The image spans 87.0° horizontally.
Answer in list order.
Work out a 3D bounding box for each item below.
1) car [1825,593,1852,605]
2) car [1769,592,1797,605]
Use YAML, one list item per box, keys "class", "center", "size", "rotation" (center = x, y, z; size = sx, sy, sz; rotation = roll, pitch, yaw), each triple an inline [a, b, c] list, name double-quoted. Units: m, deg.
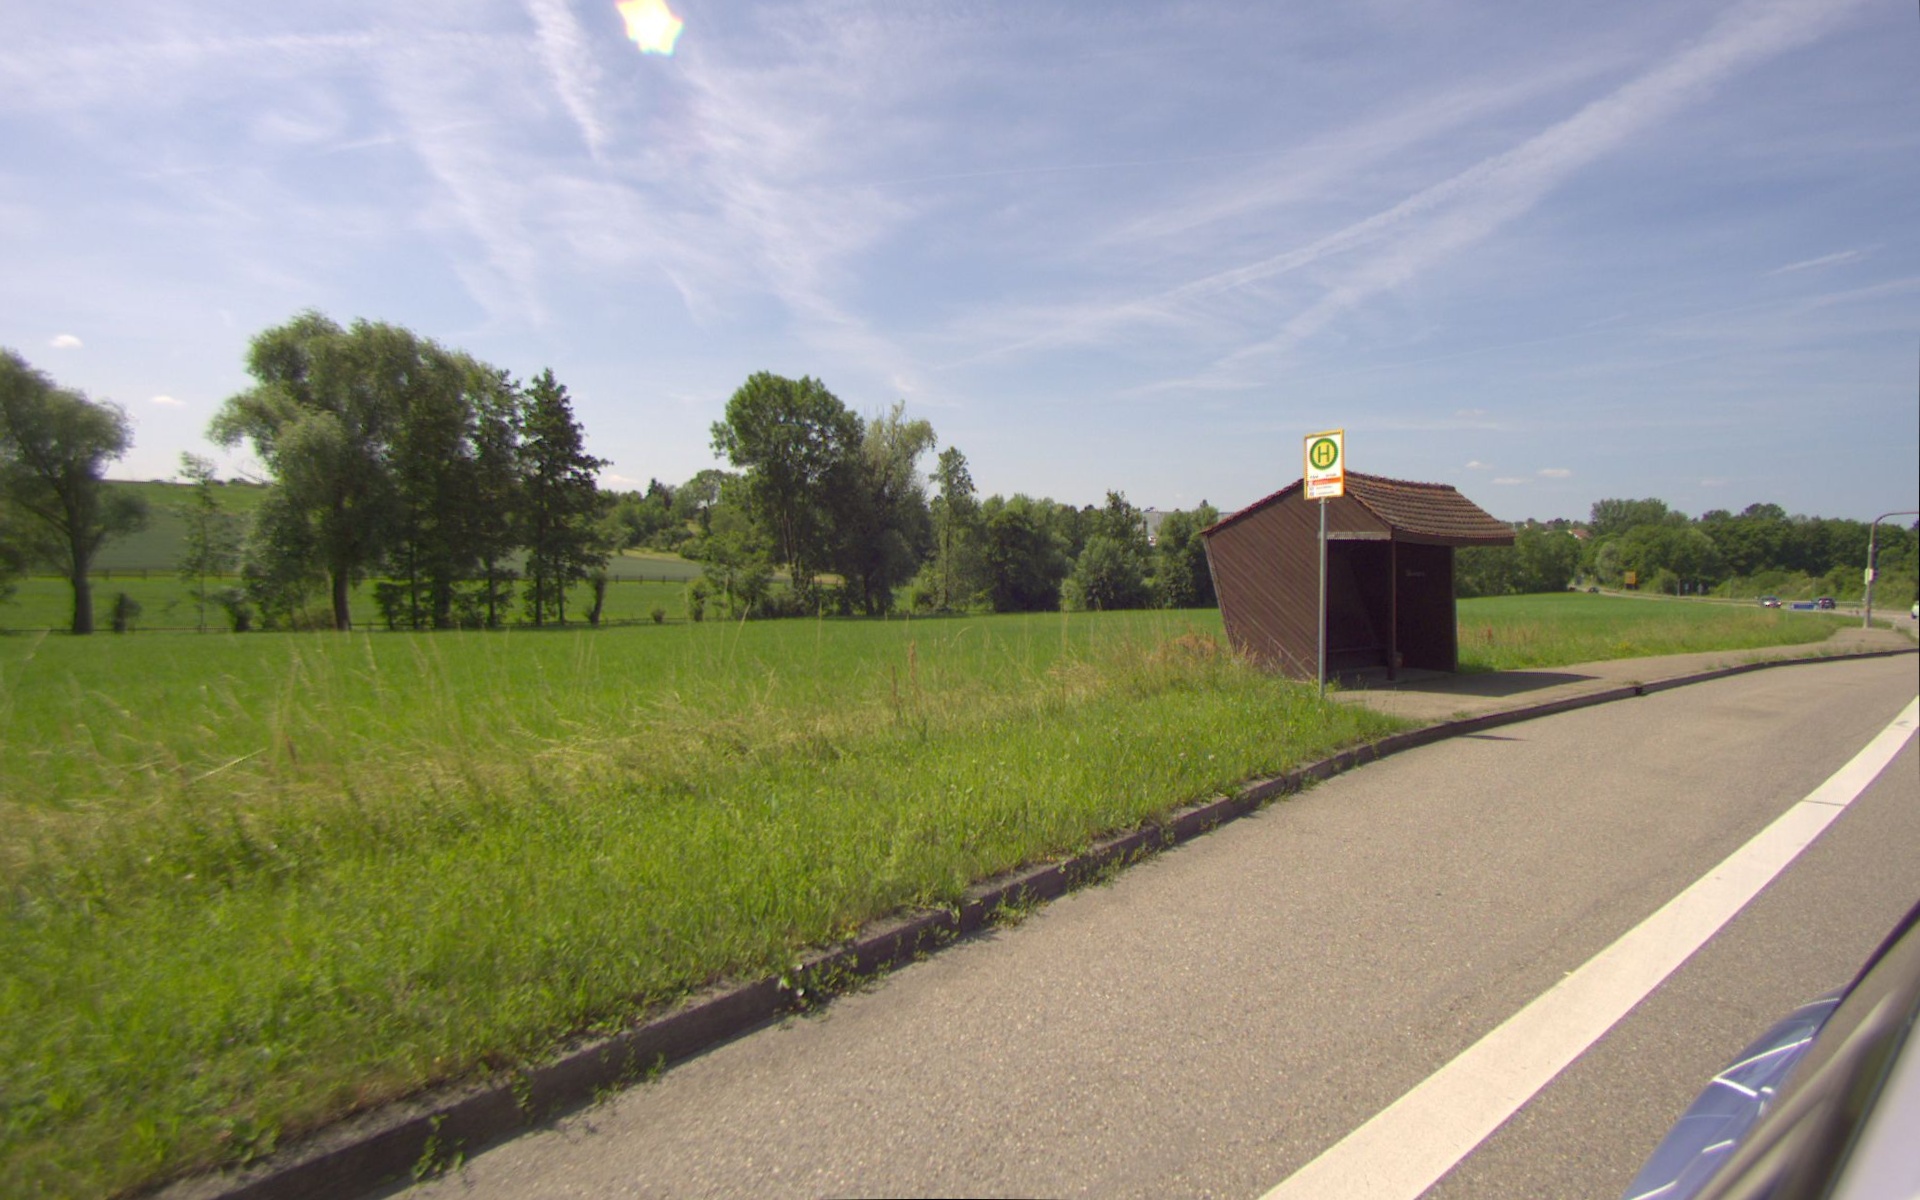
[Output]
- class: "car"
  center: [107.001, -0.105, 123.316]
  size: [1.783, 1.493, 4.260]
  rotation: [-1, 0, 33]
- class: "car"
  center: [104.975, -0.148, 129.097]
  size: [1.981, 1.605, 3.962]
  rotation: [-1, 0, 27]
